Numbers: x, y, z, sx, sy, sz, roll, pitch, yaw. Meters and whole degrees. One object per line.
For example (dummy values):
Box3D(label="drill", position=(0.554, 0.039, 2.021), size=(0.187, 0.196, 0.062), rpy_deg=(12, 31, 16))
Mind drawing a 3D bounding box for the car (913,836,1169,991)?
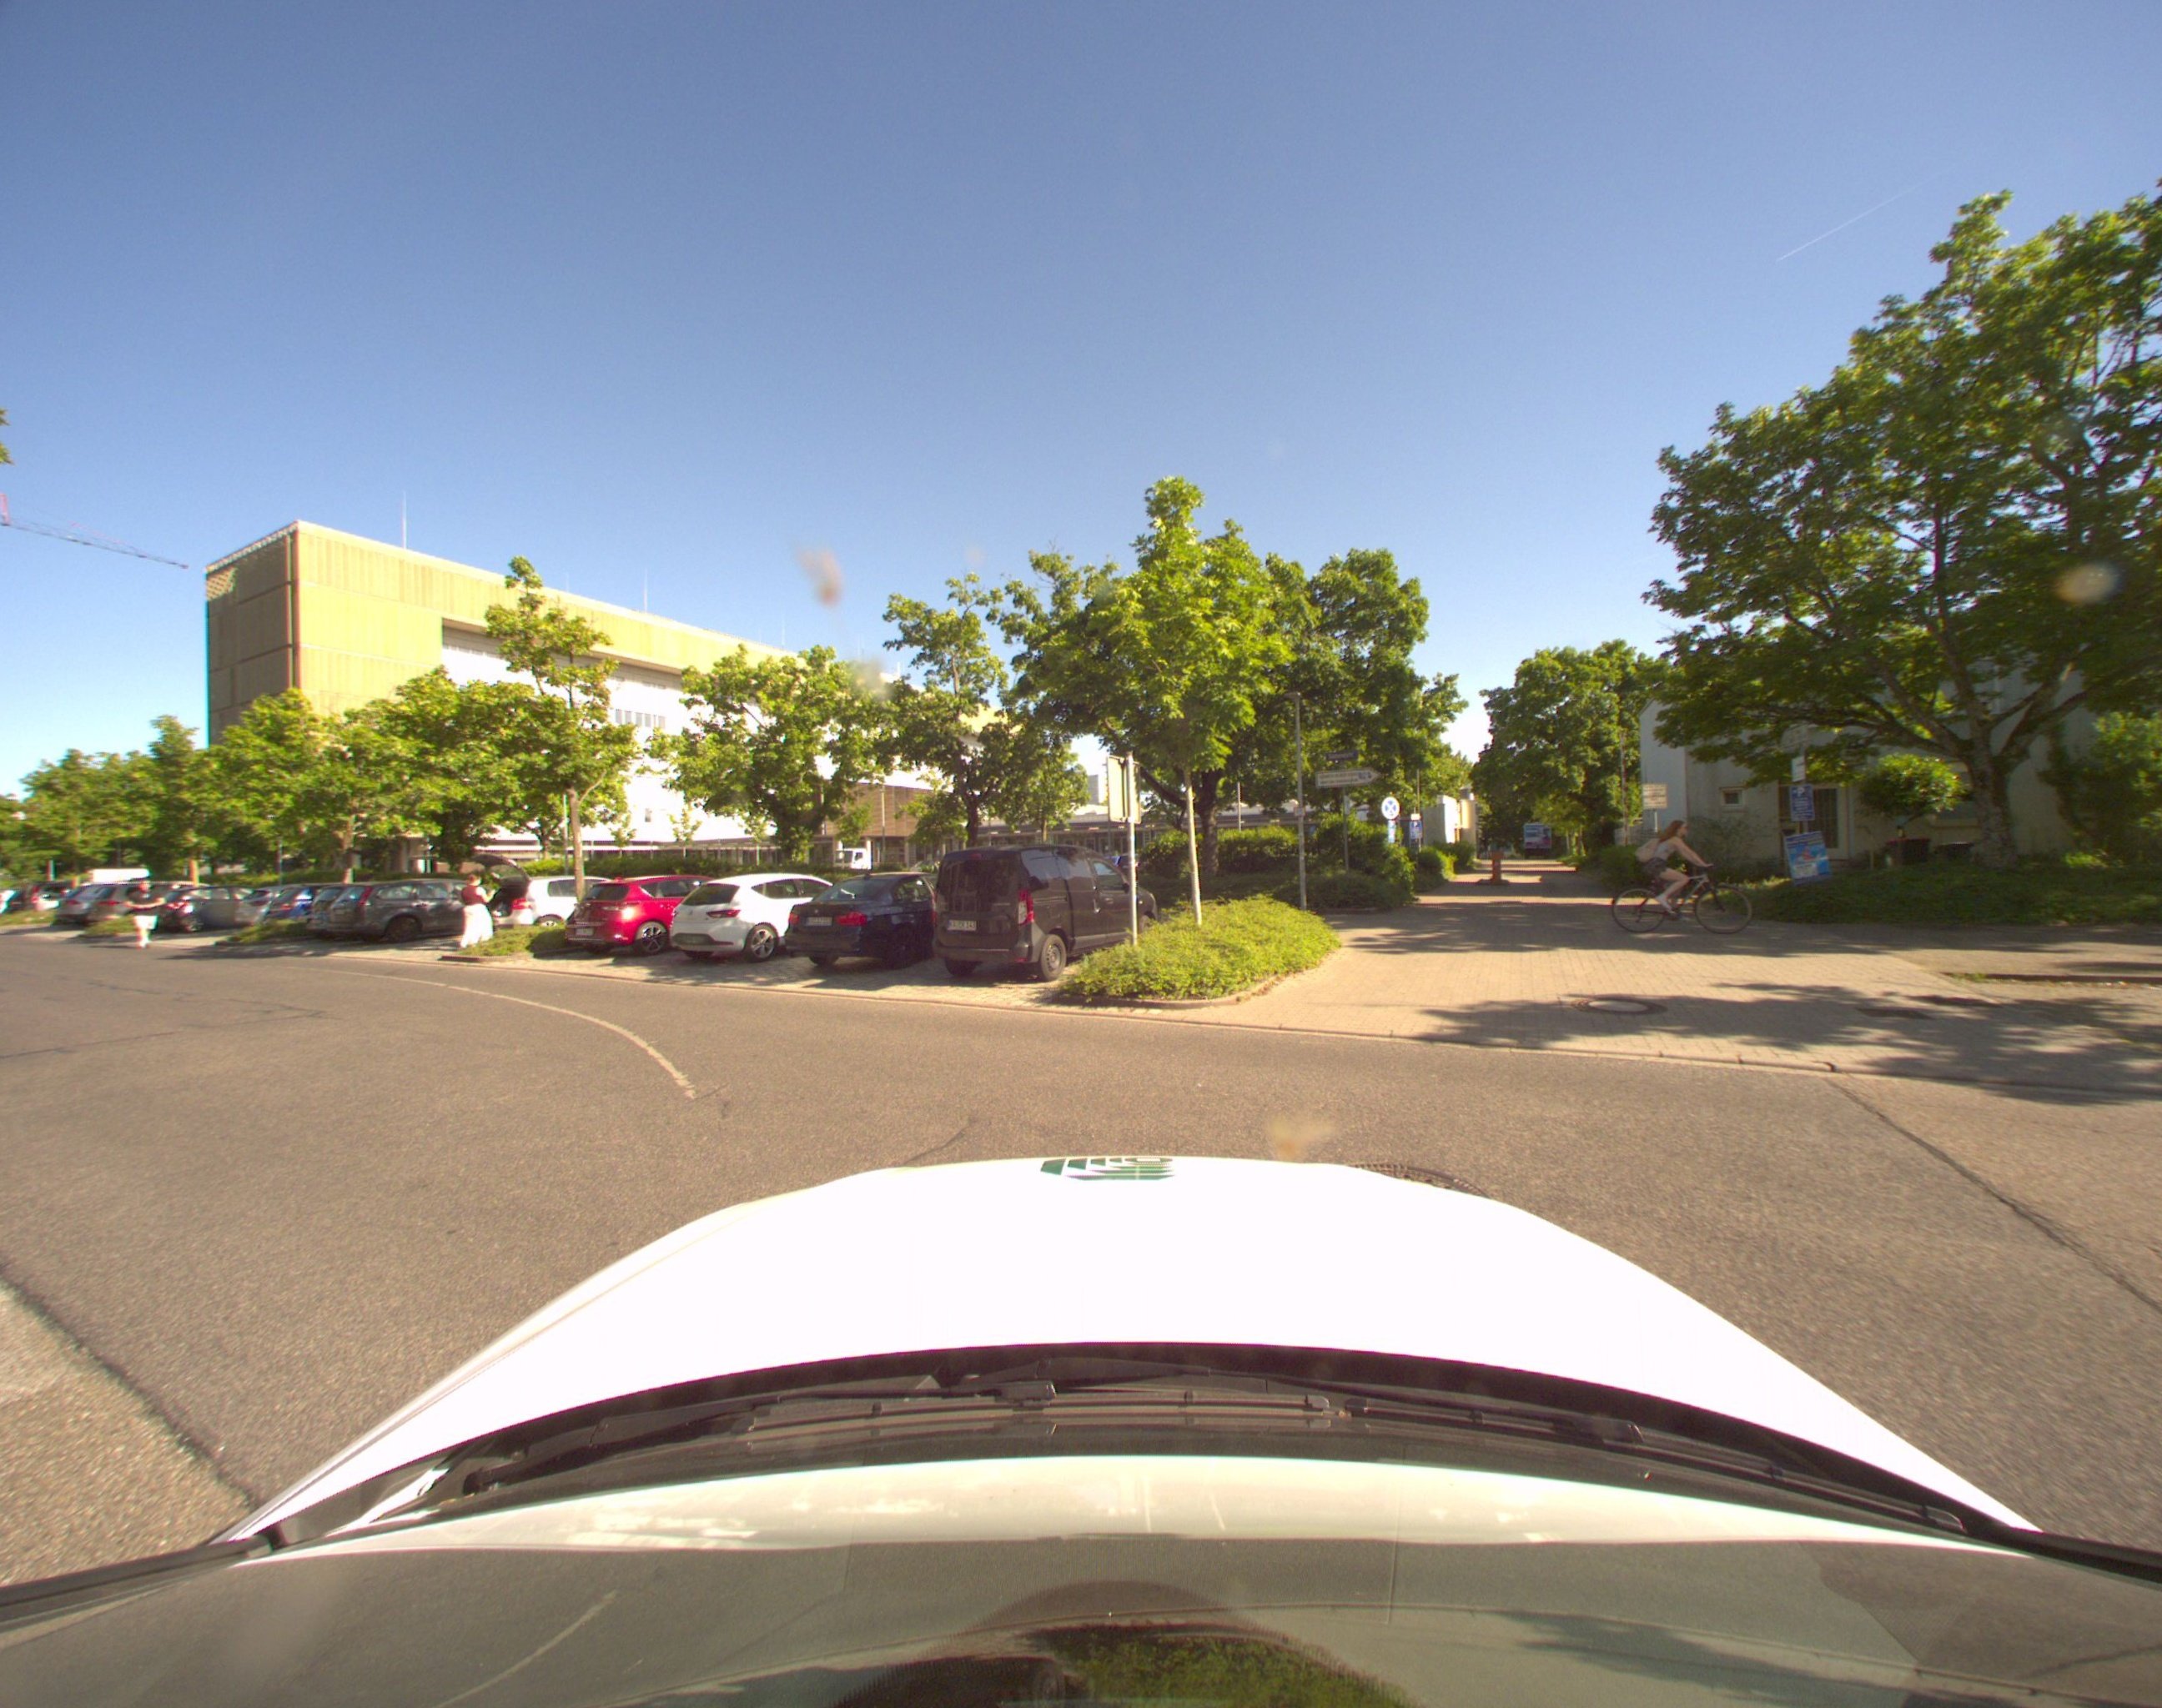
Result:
Box3D(label="car", position=(-0.386, 0.717, 12.305), size=(1.856, 1.846, 4.194), rpy_deg=(-2, 1, 29))

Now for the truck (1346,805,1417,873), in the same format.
Box3D(label="truck", position=(18.280, -0.870, 49.231), size=(2.776, 3.806, 6.968), rpy_deg=(0, 1, 31))

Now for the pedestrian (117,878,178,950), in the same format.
Box3D(label="pedestrian", position=(-24.134, 1.536, 21.056), size=(1.153, 1.771, 0.726), rpy_deg=(-2, 1, 27))

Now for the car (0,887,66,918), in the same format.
Box3D(label="car", position=(-57.197, 2.606, 43.185), size=(1.721, 1.486, 3.937), rpy_deg=(-2, 0, 28))

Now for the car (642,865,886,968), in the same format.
Box3D(label="car", position=(-5.643, 1.025, 15.022), size=(1.786, 1.436, 3.936), rpy_deg=(-1, 1, 27))

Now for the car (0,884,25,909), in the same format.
Box3D(label="car", position=(-69.403, 2.750, 50.802), size=(2.005, 1.582, 4.025), rpy_deg=(-2, 0, 29))

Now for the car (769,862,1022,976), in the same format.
Box3D(label="car", position=(-2.875, 0.953, 13.639), size=(1.806, 1.406, 4.194), rpy_deg=(-2, 1, 27))

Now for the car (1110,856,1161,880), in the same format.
Box3D(label="car", position=(3.754, 0.919, 55.357), size=(1.818, 1.497, 3.932), rpy_deg=(-2, 0, 31))

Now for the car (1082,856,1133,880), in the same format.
Box3D(label="car", position=(1.863, 0.932, 56.277), size=(1.818, 1.497, 3.932), rpy_deg=(-2, 0, 31))

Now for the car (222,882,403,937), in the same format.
Box3D(label="car", position=(-24.220, 1.694, 25.799), size=(1.818, 1.416, 3.768), rpy_deg=(-2, 0, 30))

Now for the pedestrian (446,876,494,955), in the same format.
Box3D(label="pedestrian", position=(-12.889, 1.271, 17.199), size=(0.769, 1.579, 0.667), rpy_deg=(0, 0, -33))

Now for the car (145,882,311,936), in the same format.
Box3D(label="car", position=(-28.716, 1.818, 27.527), size=(1.725, 1.489, 3.485), rpy_deg=(-3, 0, 27))

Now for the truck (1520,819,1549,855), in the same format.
Box3D(label="truck", position=(51.495, -1.891, 92.460), size=(2.734, 3.869, 9.387), rpy_deg=(0, 1, 29))

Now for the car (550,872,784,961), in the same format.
Box3D(label="car", position=(-8.123, 1.168, 16.368), size=(1.651, 1.426, 3.935), rpy_deg=(-3, 0, 27))

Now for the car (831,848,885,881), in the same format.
Box3D(label="car", position=(-18.146, 0.852, 66.364), size=(2.204, 2.491, 3.669), rpy_deg=(-2, 0, 31))

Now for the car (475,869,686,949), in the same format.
Box3D(label="car", position=(-11.684, 1.195, 19.298), size=(1.658, 1.578, 3.935), rpy_deg=(0, 1, 27))

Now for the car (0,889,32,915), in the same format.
Box3D(label="car", position=(-67.103, 3.025, 49.372), size=(1.838, 1.538, 4.025), rpy_deg=(-3, -1, 29))

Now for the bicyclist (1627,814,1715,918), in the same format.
Box3D(label="bicyclist", position=(9.004, 0.174, 12.467), size=(1.002, 1.523, 0.600), rpy_deg=(0, 0, 27))

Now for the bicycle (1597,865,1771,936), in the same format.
Box3D(label="bicycle", position=(9.116, 0.674, 12.416), size=(2.062, 0.995, 0.600), rpy_deg=(0, 0, 27))

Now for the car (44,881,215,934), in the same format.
Box3D(label="car", position=(-36.623, 1.989, 31.455), size=(1.916, 1.695, 3.935), rpy_deg=(0, 1, 27))

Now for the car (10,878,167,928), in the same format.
Box3D(label="car", position=(-44.743, 2.156, 36.838), size=(1.954, 1.927, 4.157), rpy_deg=(0, 1, 27))

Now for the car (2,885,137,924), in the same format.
Box3D(label="car", position=(-47.075, 2.298, 37.977), size=(1.685, 1.549, 3.640), rpy_deg=(0, 1, 27))

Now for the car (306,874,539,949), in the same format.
Box3D(label="car", position=(-16.483, 1.367, 20.651), size=(1.715, 1.519, 4.225), rpy_deg=(-2, 1, 27))

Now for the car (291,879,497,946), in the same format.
Box3D(label="car", position=(-18.454, 1.493, 22.094), size=(1.601, 1.468, 3.935), rpy_deg=(0, 1, 27))

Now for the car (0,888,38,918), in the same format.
Box3D(label="car", position=(-61.818, 2.815, 45.434), size=(1.719, 1.580, 4.183), rpy_deg=(-2, 1, 28))

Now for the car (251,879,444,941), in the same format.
Box3D(label="car", position=(-21.988, 1.617, 24.574), size=(1.818, 1.497, 3.932), rpy_deg=(-2, 0, 30))

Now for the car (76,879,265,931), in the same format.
Box3D(label="car", position=(-34.267, 1.875, 30.823), size=(1.888, 1.608, 4.360), rpy_deg=(-2, 0, 25))

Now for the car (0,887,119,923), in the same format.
Box3D(label="car", position=(-50.850, 2.517, 40.174), size=(1.719, 1.425, 4.101), rpy_deg=(-2, 1, 30))
